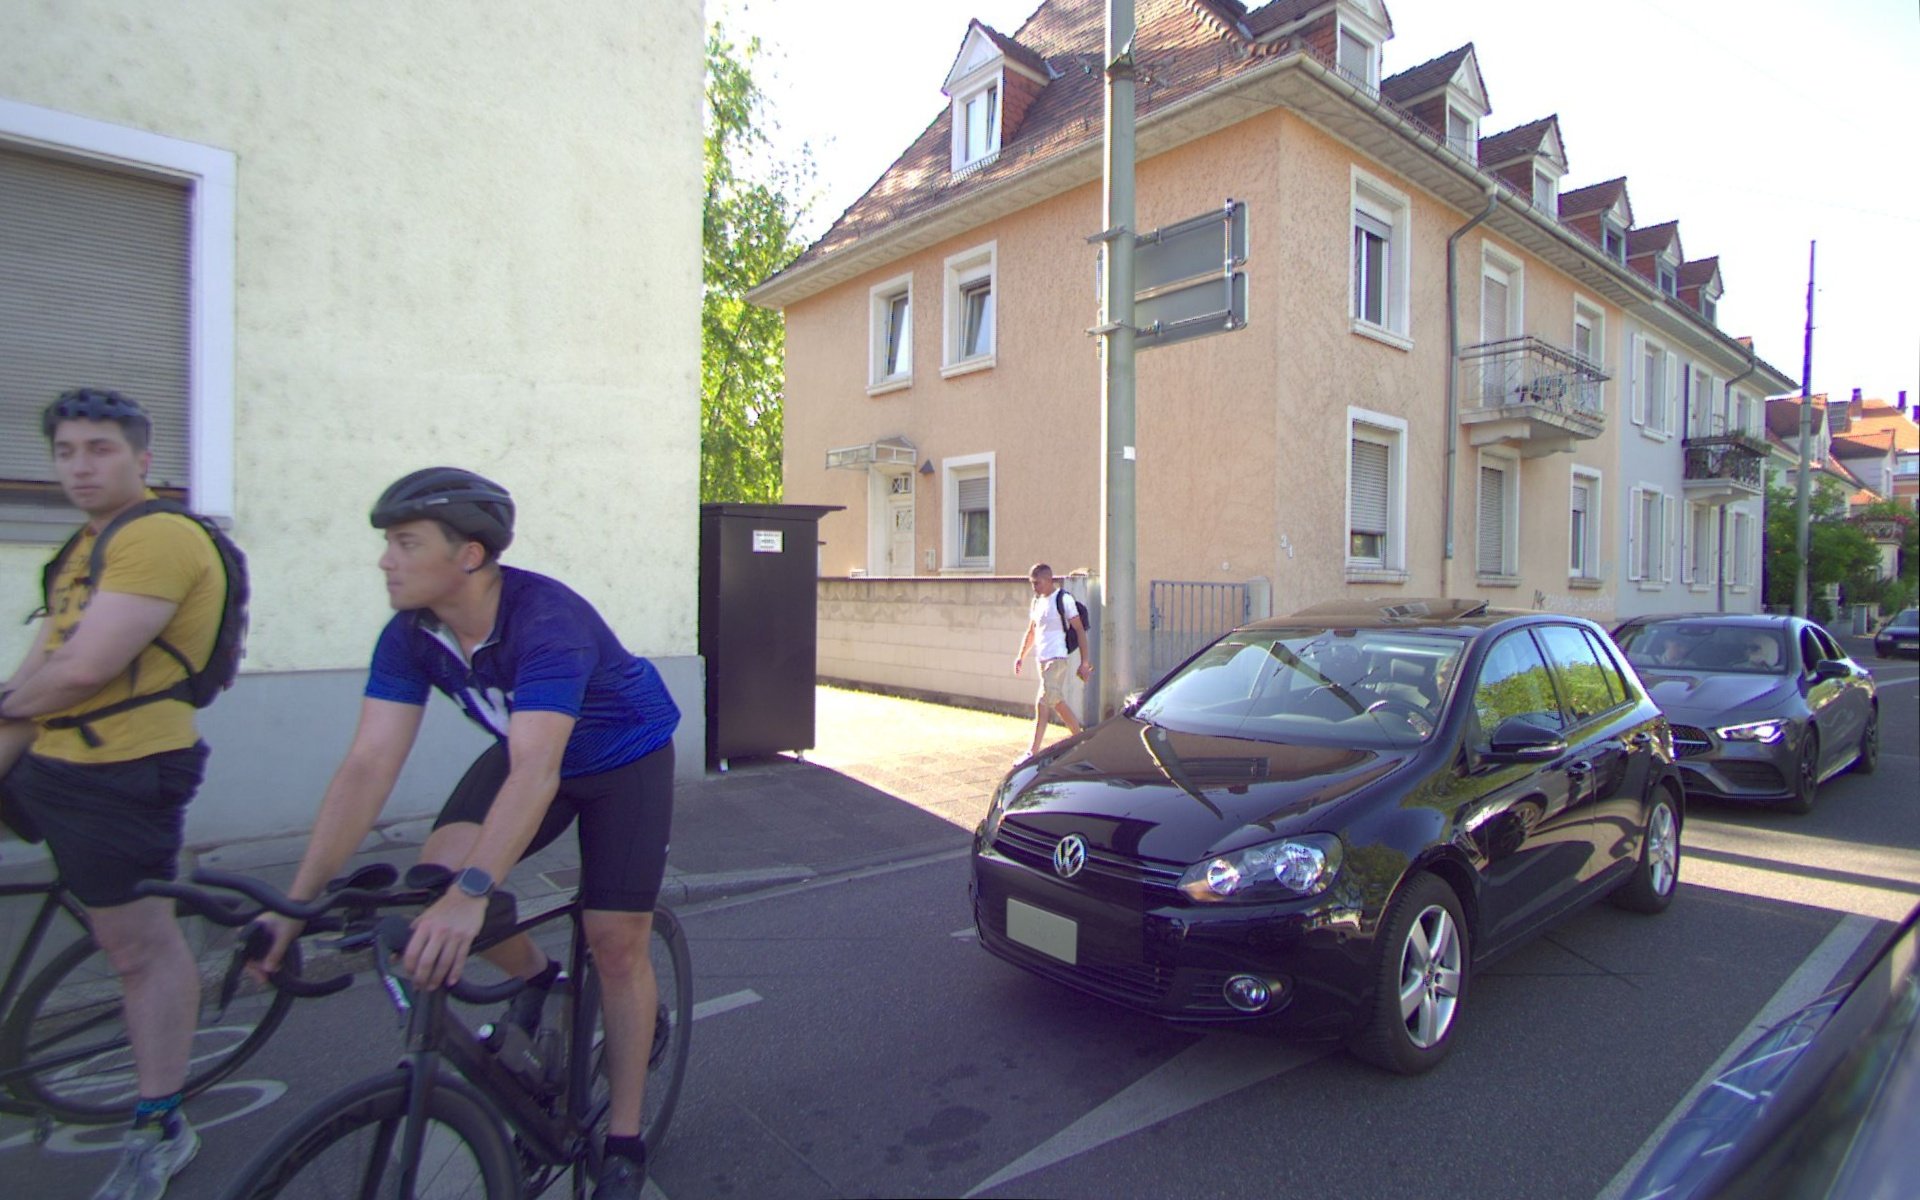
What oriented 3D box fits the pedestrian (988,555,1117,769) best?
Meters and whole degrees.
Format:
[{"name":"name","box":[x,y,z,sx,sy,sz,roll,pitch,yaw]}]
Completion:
[{"name":"pedestrian","box":[0.756,0.474,8.319,0.748,1.624,0.610,0,6,-42]}]

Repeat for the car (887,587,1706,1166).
[{"name":"car","box":[1.755,0.679,4.507,3.921,1.456,1.716,-1,0,-41]}]

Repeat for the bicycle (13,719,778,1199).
[{"name":"bicycle","box":[-0.939,0.958,2.172,0.547,1.088,1.622,4,3,8]}]

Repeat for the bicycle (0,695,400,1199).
[{"name":"bicycle","box":[-2.394,0.876,2.384,0.777,1.120,1.720,0,0,36]}]

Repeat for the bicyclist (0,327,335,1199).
[{"name":"bicyclist","box":[-2.188,0.415,2.581,0.777,1.991,0.768,0,0,36]}]

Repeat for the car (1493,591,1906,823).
[{"name":"car","box":[6.358,0.695,8.500,4.410,1.449,1.824,1,0,-40]}]

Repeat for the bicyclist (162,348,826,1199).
[{"name":"bicyclist","box":[-0.909,0.418,2.141,1.004,1.714,0.728,4,3,9]}]

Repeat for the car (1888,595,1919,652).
[{"name":"car","box":[26.744,0.613,27.438,4.258,1.448,1.824,-1,0,-40]}]
